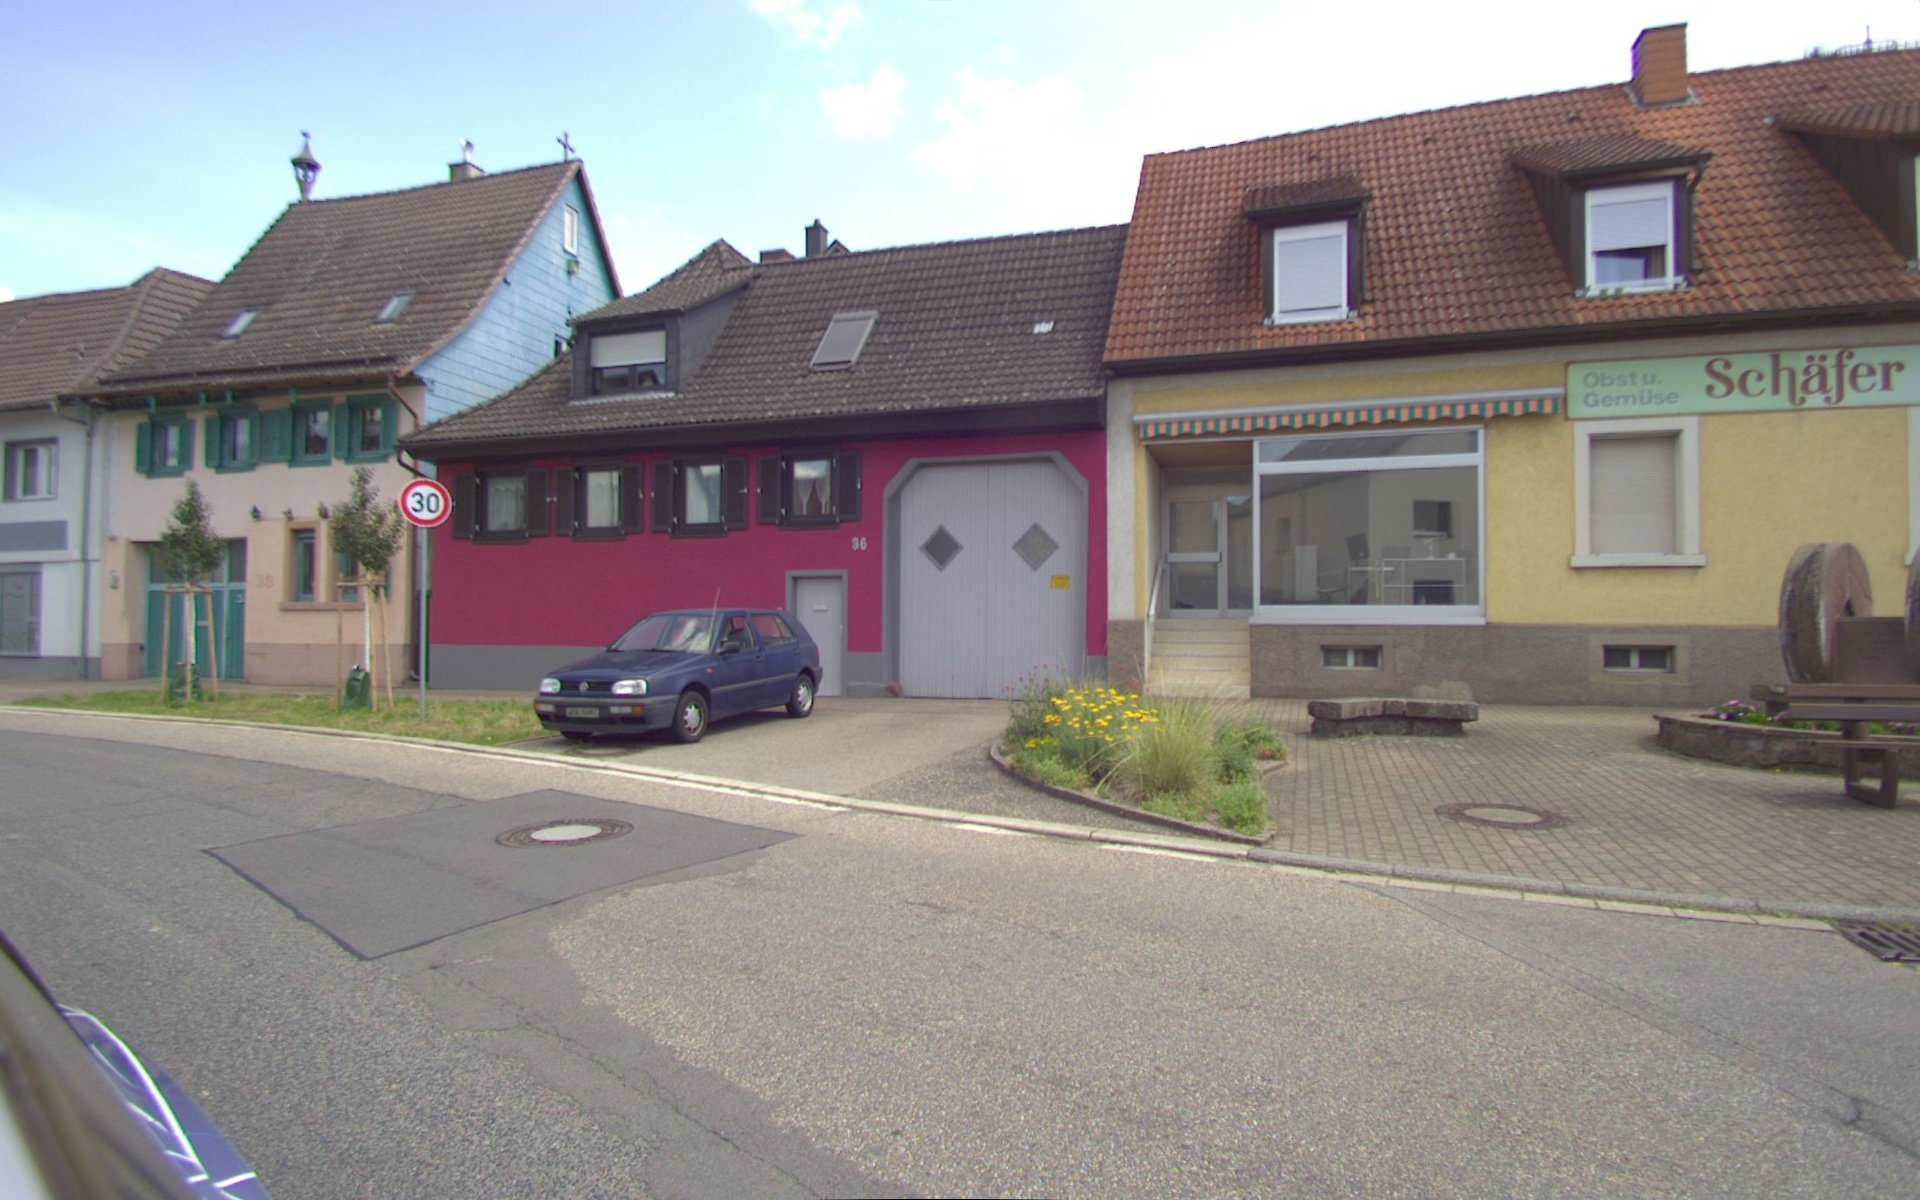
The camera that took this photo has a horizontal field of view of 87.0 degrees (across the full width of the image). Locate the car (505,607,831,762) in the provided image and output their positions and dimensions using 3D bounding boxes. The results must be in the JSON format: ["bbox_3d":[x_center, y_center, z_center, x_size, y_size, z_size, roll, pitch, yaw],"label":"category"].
[{"bbox_3d":[-3.181,0.827,11.892,1.708,1.475,3.953,0,0,20],"label":"car"}]
